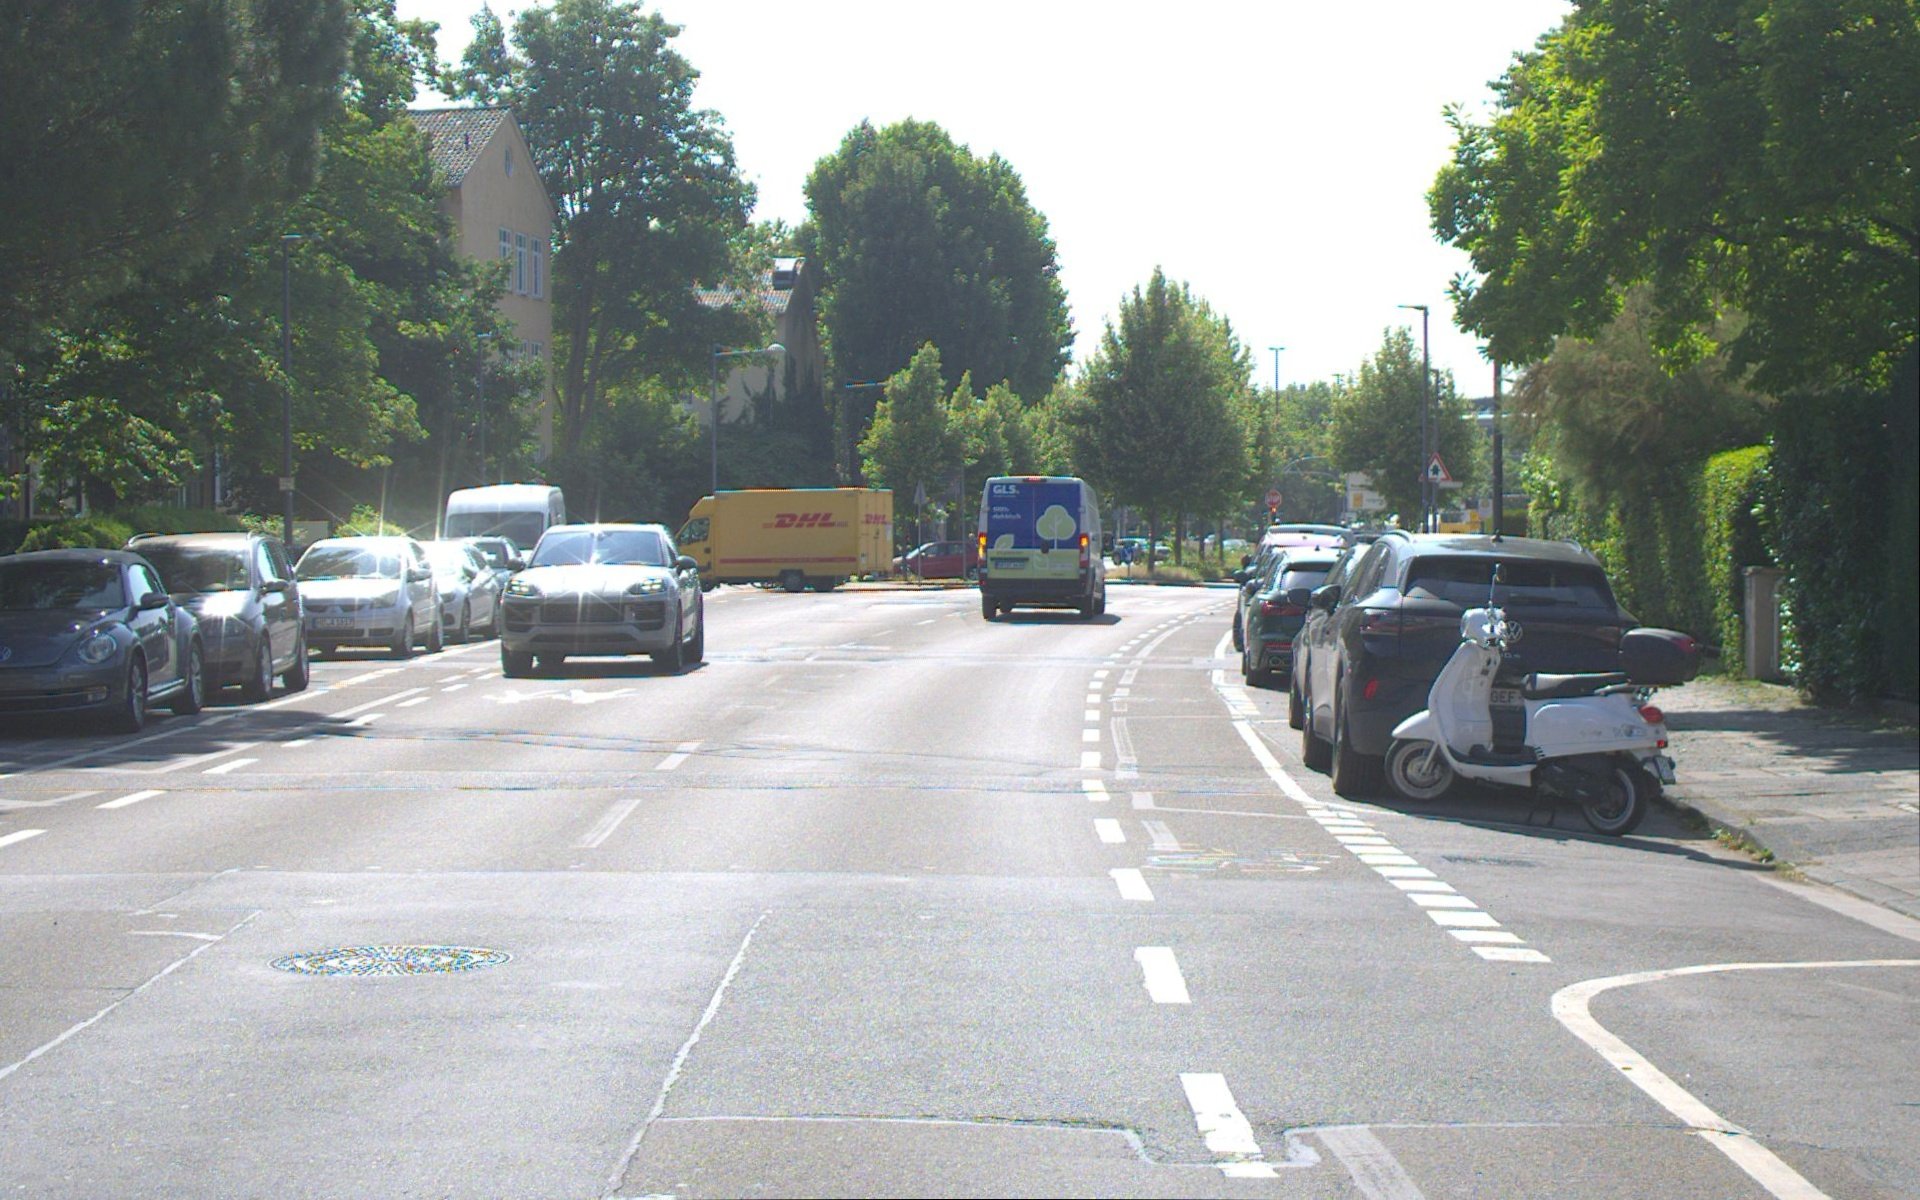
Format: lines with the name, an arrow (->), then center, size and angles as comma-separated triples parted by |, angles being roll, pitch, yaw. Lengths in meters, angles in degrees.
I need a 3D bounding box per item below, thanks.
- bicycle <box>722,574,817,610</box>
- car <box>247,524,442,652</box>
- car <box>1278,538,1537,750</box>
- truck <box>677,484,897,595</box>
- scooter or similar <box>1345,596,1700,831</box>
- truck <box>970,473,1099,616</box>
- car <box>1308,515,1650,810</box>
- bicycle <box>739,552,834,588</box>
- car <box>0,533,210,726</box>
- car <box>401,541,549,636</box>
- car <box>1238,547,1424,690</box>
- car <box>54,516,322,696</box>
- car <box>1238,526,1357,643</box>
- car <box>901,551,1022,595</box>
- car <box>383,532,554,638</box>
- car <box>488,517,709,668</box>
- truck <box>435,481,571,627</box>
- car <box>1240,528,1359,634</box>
bicycle -> -5.483, -0.233, 98.879 | 2.664, 1.023, 1.026 | 0, 1, -9
car -> -7.967, -0.168, 44.801 | 1.835, 1.590, 3.775 | 0, 1, 0
car -> 3.544, 0.292, 27.782 | 1.709, 1.509, 3.901 | 2, 1, 3
truck -> -4.749, -1.643, 93.958 | 5.676, 2.936, 2.218 | 0, 1, 28
scooter or similar -> 3.117, 0.613, 19.163 | 1.796, 1.150, 0.718 | 5, 1, 44
truck -> 1.421, -1.021, 63.856 | 2.272, 2.562, 4.392 | 0, 1, 3
car -> 3.201, 0.314, 21.957 | 1.785, 1.632, 4.470 | 2, 1, 4
bicycle -> -5.057, -0.881, 100.093 | 2.687, 1.044, 1.026 | 0, 1, -9
car -> -7.478, 0.196, 28.395 | 1.780, 1.455, 4.087 | -1, 1, -2
car -> -7.946, -0.213, 56.561 | 1.754, 1.491, 3.654 | 0, 1, 3
car -> 3.956, 0.155, 37.225 | 1.785, 1.394, 4.323 | 2, 1, 4
car -> -7.560, 0.007, 34.060 | 1.908, 1.671, 4.259 | 0, 1, -3
car -> 5.052, -0.260, 51.266 | 1.701, 1.671, 3.774 | 0, 1, 6
car -> 0.039, -0.944, 119.383 | 3.986, 1.485, 1.629 | 0, 1, -9
car -> -7.211, -0.252, 50.775 | 1.835, 1.491, 3.654 | 0, 1, 3
car -> -4.108, -0.132, 39.779 | 1.993, 1.652, 4.605 | 0, 1, 1
truck -> -8.241, -0.861, 62.410 | 2.080, 2.528, 5.468 | 0, 1, -4
car -> 5.543, -0.337, 56.507 | 1.700, 1.671, 3.775 | 0, 1, 2
